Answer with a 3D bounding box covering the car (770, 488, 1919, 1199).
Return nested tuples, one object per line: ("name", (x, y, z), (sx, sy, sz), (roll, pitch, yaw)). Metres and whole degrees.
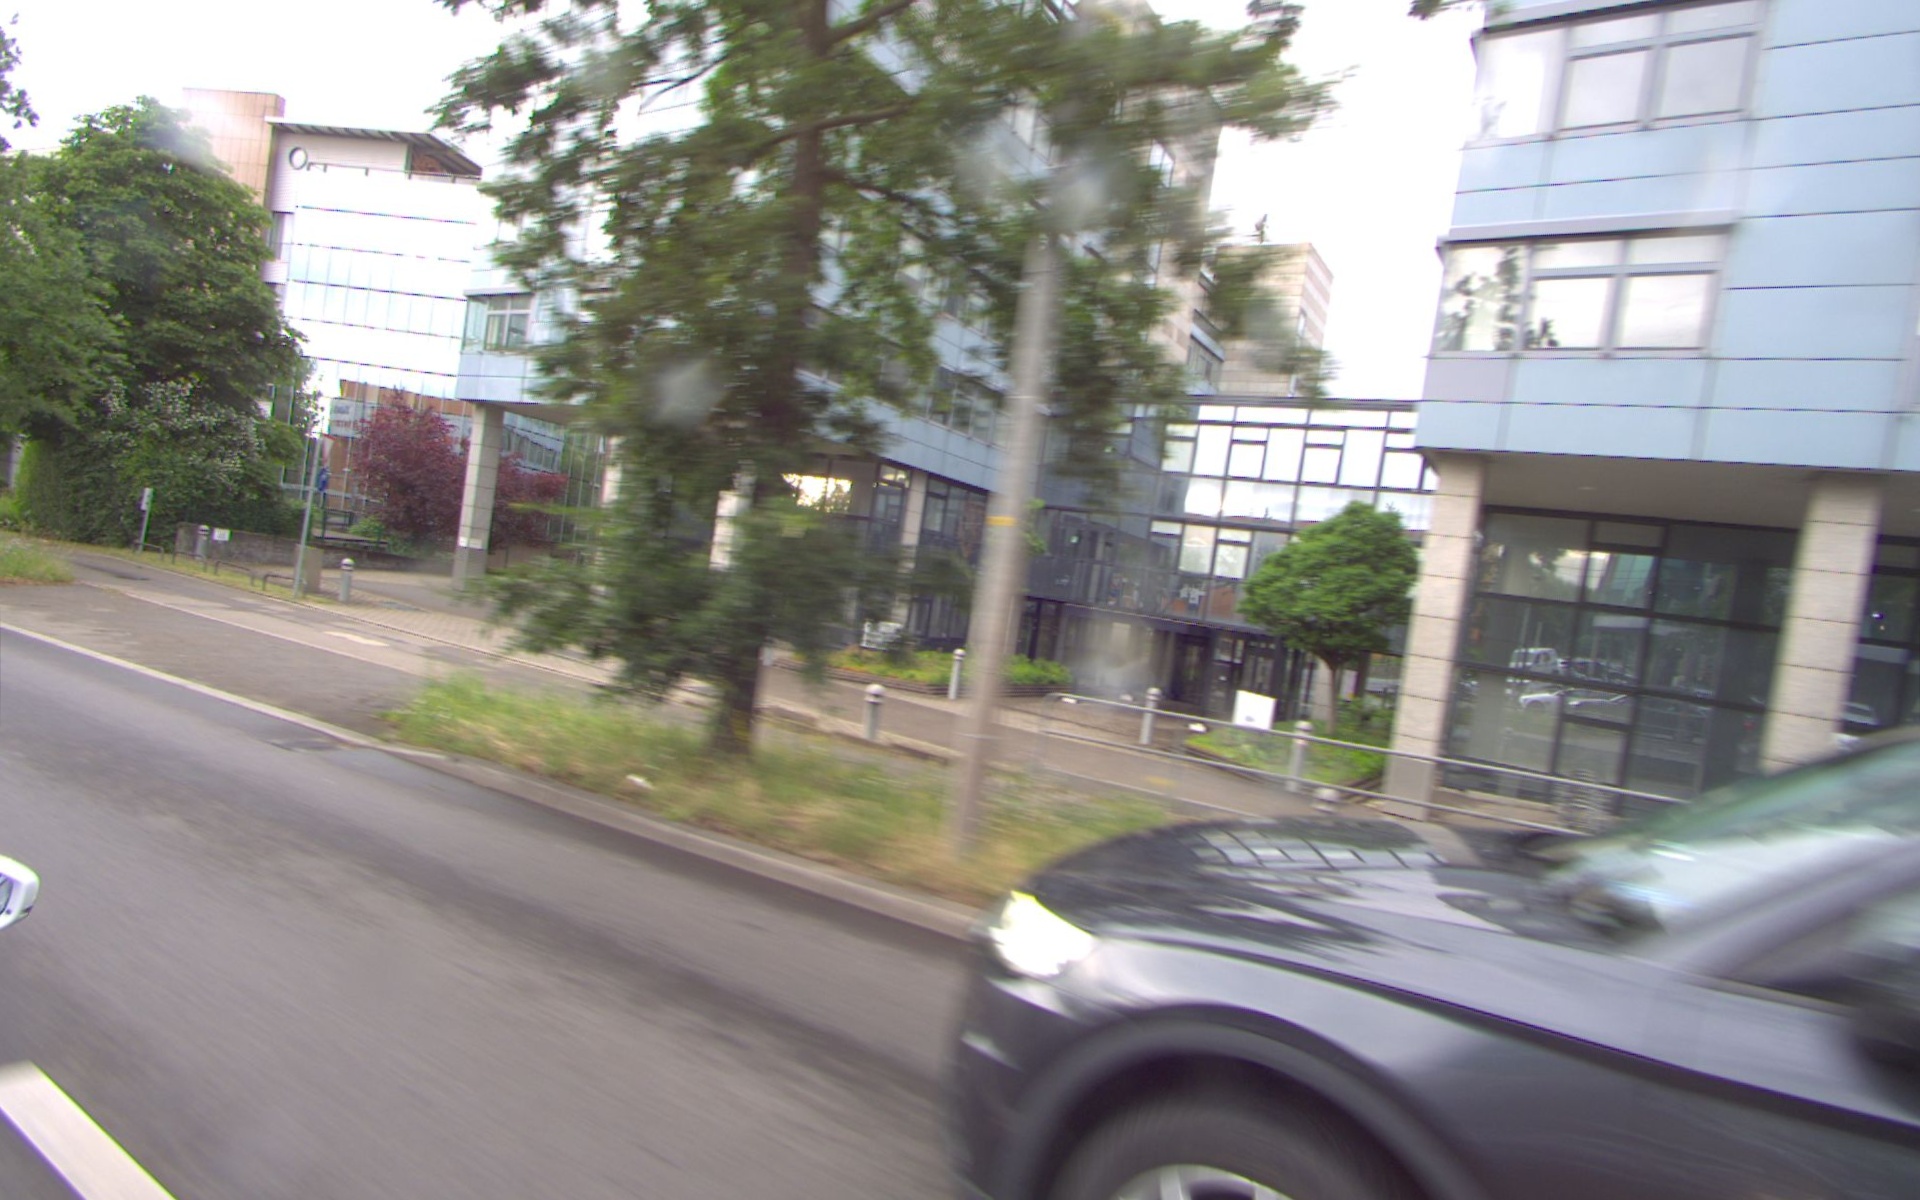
("car", (1.949, 0.890, 1.832), (4.298, 1.690, 1.814), (7, -1, 32))
